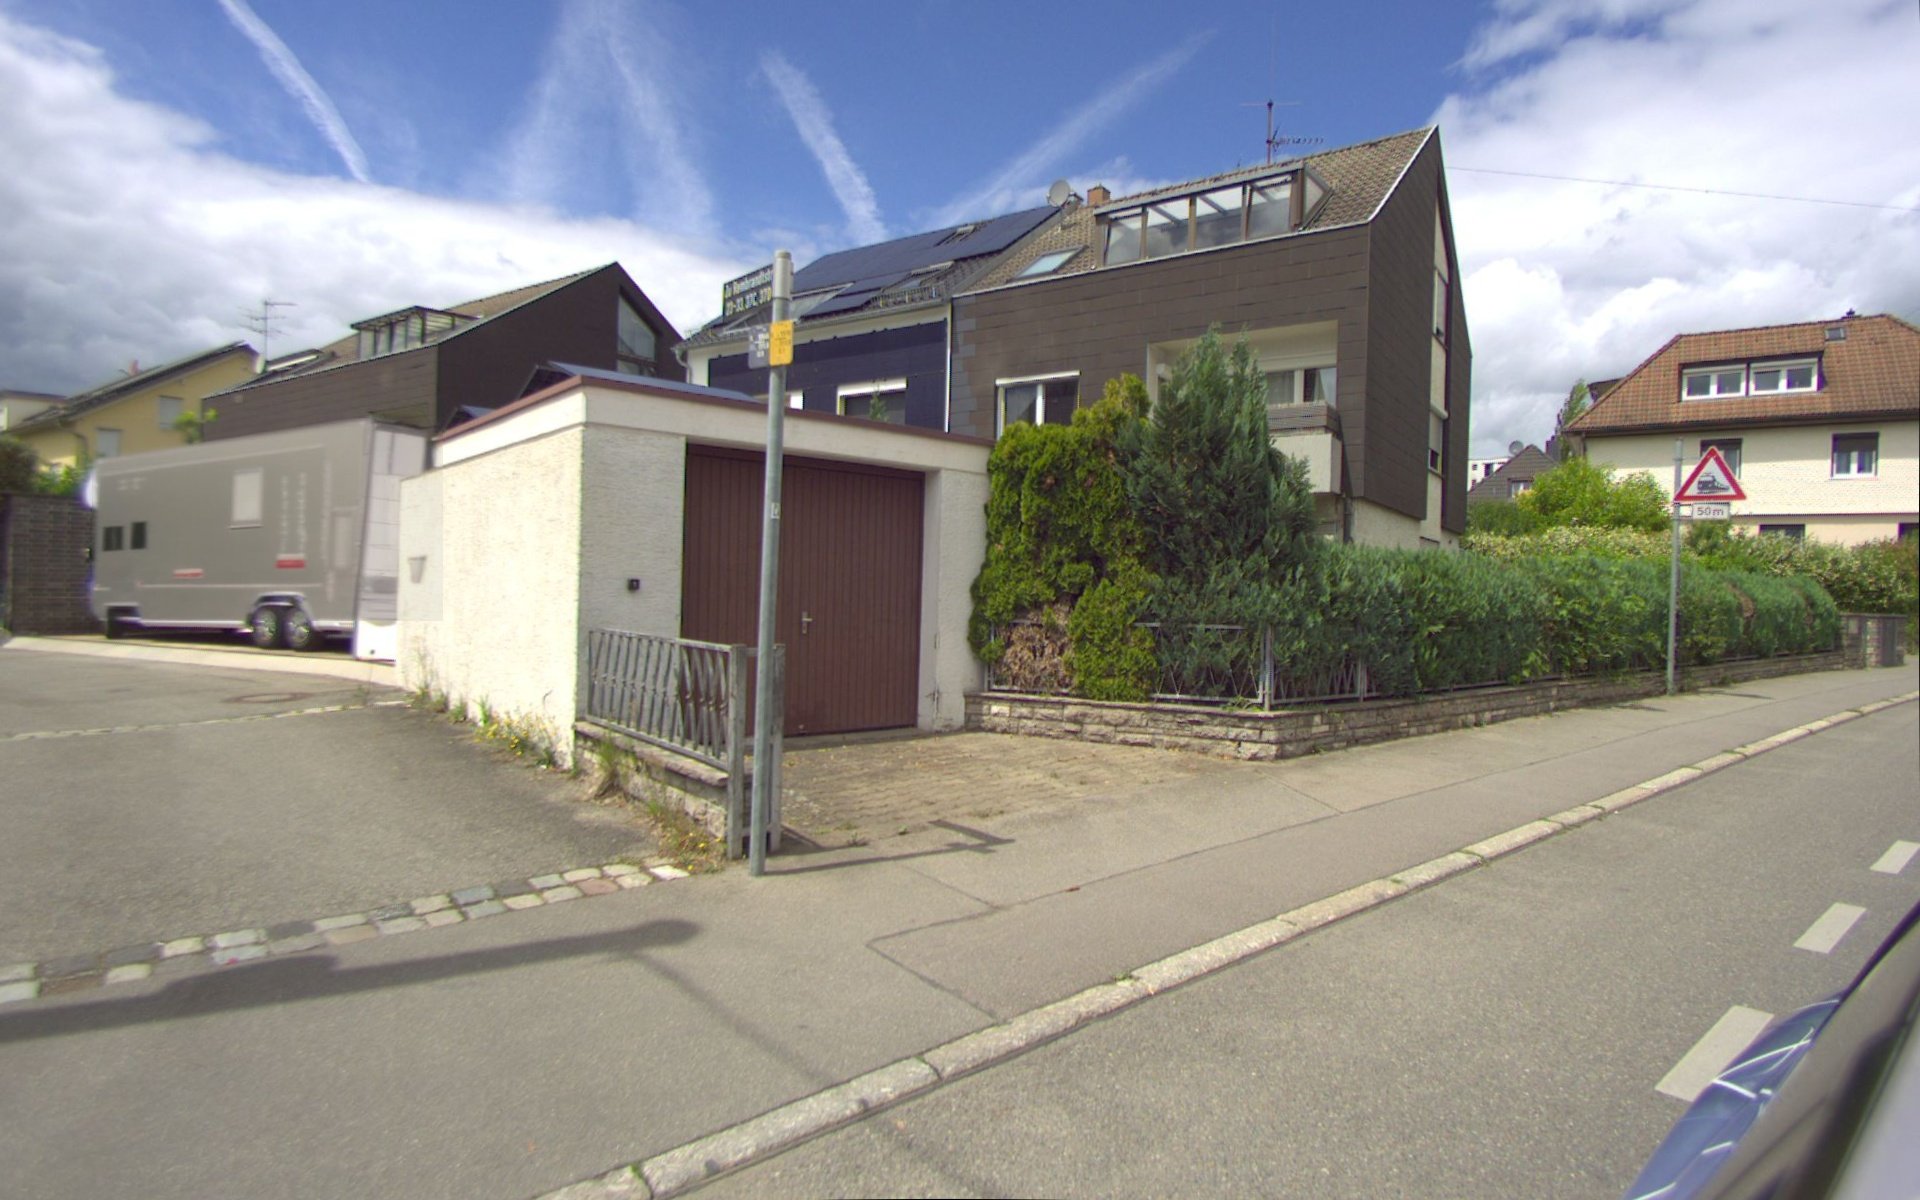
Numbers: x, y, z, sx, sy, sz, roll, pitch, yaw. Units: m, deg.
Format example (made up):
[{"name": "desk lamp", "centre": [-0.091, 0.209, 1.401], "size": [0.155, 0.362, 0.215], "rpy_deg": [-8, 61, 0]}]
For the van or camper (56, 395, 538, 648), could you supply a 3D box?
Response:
[{"name": "van or camper", "centre": [-10.867, -1.002, 16.304], "size": [8.593, 3.344, 2.398], "rpy_deg": [-1, 0, 25]}]
